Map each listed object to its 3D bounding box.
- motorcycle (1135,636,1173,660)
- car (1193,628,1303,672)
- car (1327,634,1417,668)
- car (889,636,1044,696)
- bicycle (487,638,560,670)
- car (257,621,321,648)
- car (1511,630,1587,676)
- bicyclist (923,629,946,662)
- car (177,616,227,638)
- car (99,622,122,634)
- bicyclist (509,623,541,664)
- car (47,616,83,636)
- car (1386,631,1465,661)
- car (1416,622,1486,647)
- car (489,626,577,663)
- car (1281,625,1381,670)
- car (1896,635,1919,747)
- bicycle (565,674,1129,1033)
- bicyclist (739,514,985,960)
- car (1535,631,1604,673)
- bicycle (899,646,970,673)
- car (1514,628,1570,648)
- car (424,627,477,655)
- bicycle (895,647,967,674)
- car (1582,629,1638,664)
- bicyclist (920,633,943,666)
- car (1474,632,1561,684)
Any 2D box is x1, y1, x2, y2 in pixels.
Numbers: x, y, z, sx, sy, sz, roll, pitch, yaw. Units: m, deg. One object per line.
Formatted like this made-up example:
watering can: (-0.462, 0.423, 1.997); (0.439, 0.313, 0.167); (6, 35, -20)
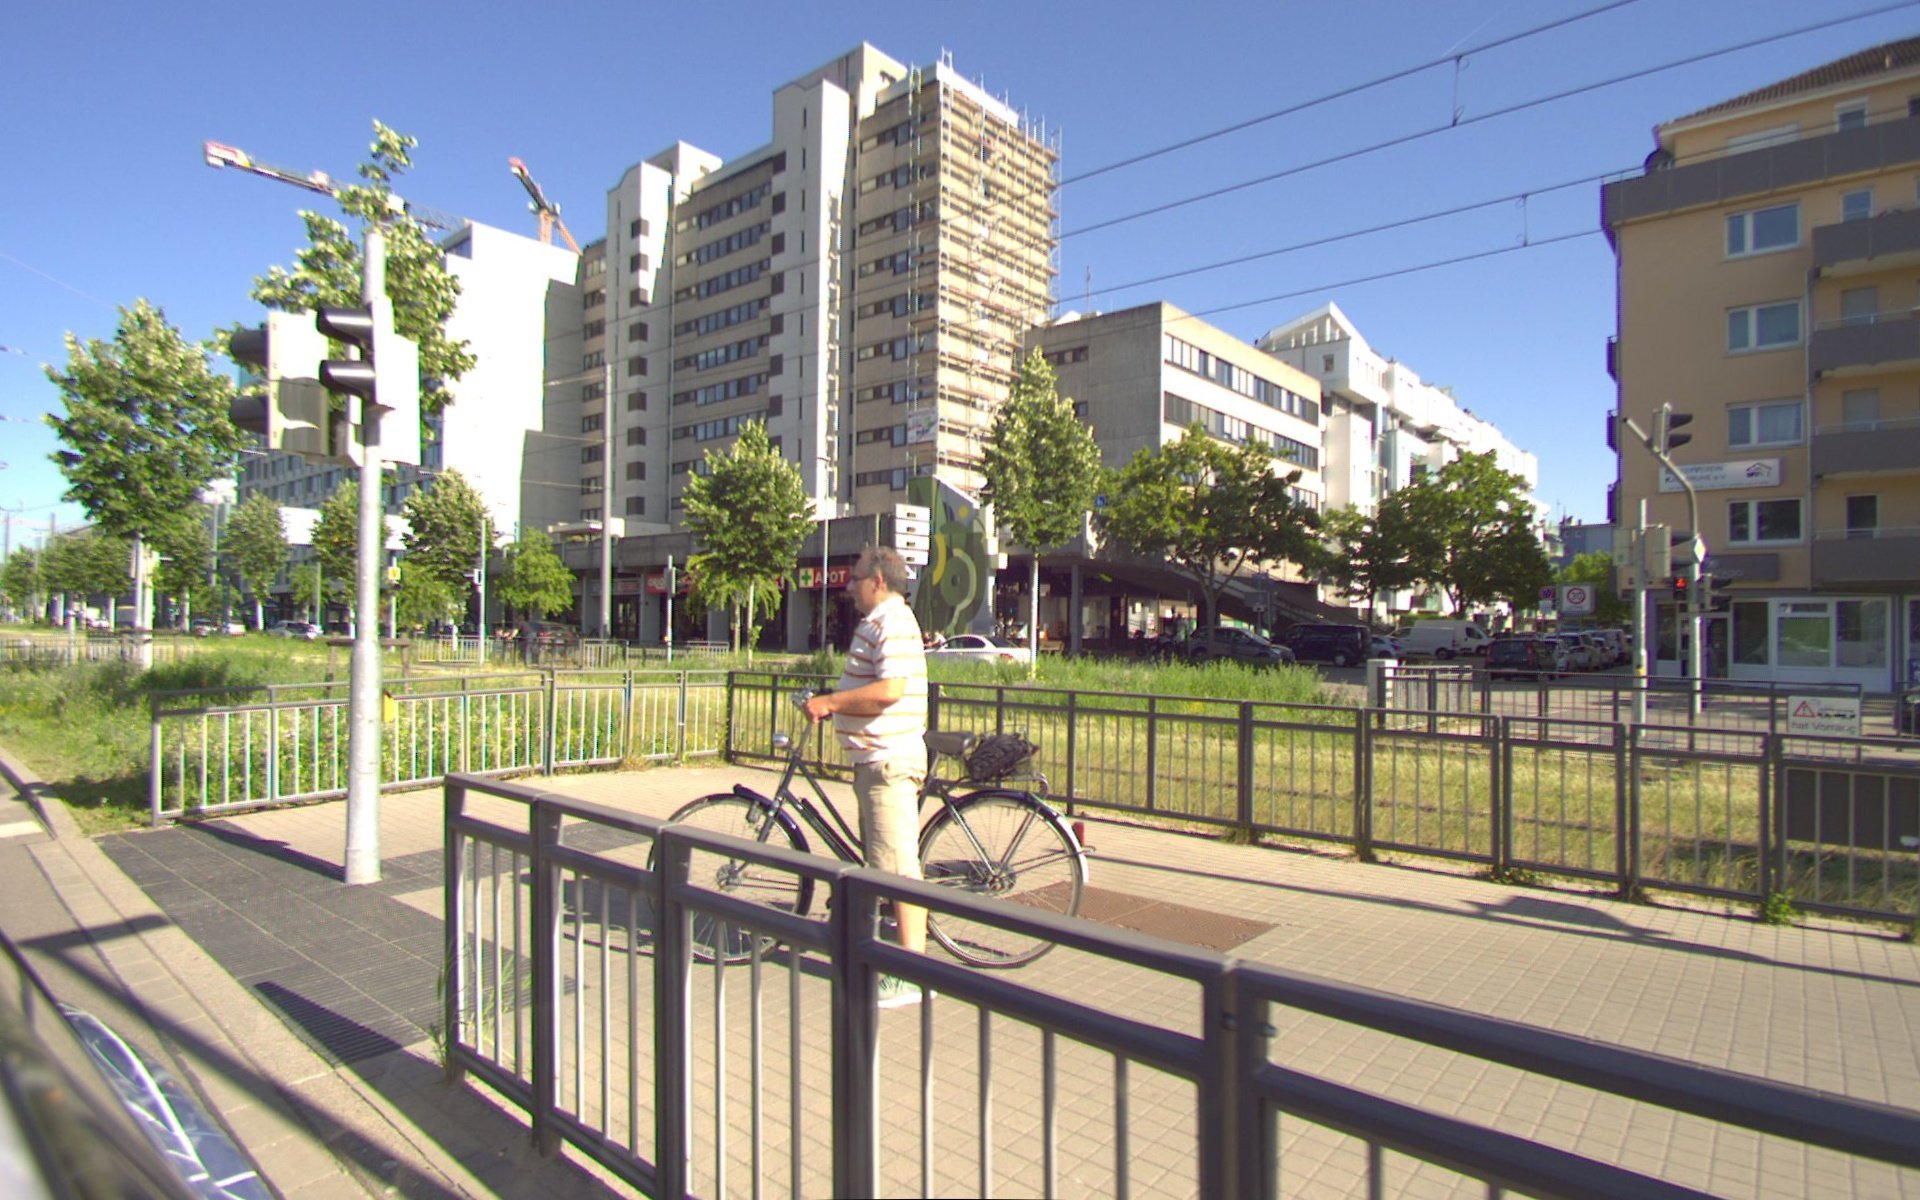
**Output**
motorcycle: (9.428, 2.310, 49.236); (1.876, 1.114, 0.440); (-1, -1, 42)
car: (11.981, 2.041, 42.198); (3.998, 1.652, 1.973); (-1, -1, 41)
car: (21.683, 2.655, 53.323); (3.994, 1.619, 1.975); (-1, -1, 38)
car: (0.144, 1.931, 30.639); (4.502, 1.590, 1.974); (-1, -1, 39)
bicycle: (-13.502, 1.656, 31.324); (1.987, 0.958, 0.563); (0, -1, -3)
car: (-40.681, 2.058, 61.310); (4.502, 1.590, 1.974); (-1, -1, 39)
car: (23.310, 2.046, 39.982); (1.998, 1.630, 3.947); (-1, -1, 40)
bicyclist: (-0.940, 1.689, 37.672); (0.760, 1.234, 0.578); (0, -1, 12)
car: (-56.736, 2.004, 75.702); (4.502, 1.590, 1.974); (-1, -1, 39)
car: (-117.075, 3.833, 139.456); (3.811, 1.519, 1.804); (-1, -1, 41)
bicyclist: (-13.475, 1.335, 31.331); (0.756, 1.234, 0.580); (0, -1, -2)
car: (-82.884, 2.403, 93.701); (4.284, 1.833, 1.972); (-1, -1, 42)
car: (27.865, 2.711, 60.594); (3.994, 1.652, 1.975); (-1, -1, 38)
car: (33.338, 2.329, 68.749); (3.994, 1.652, 1.975); (-1, -1, 38)
car: (-19.816, 2.062, 46.918); (4.102, 1.590, 1.974); (-1, -4, 39)
car: (17.432, 2.182, 47.595); (3.994, 1.984, 1.975); (-1, -1, 38)
car: (15.969, 1.327, 13.835); (4.502, 1.590, 1.974); (-1, -3, 39)
bicycle: (-0.413, 0.874, 3.935); (2.063, 1.099, 0.731); (0, -1, 15)
bicyclist: (-0.348, 0.473, 3.960); (0.723, 1.524, 0.825); (0, -1, 15)
car: (26.288, 2.178, 43.587); (1.998, 1.630, 3.947); (-1, -1, 40)
bicycle: (-0.975, 2.259, 38.418); (2.647, 0.958, 0.560); (0, -1, 13)
car: (50.507, 3.304, 87.841); (3.993, 1.652, 1.975); (-1, -1, 37)
car: (-33.084, 2.621, 65.849); (1.768, 1.696, 4.005); (0, -1, -6)
bicycle: (-1.088, 2.251, 37.691); (2.647, 0.958, 0.560); (0, -1, 13)
car: (33.675, 2.381, 52.397); (1.998, 1.630, 3.947); (-1, -1, 40)
bicyclist: (-1.082, 1.889, 38.442); (0.760, 1.234, 0.578); (0, -1, 12)
car: (19.592, 1.981, 35.495); (1.998, 1.630, 3.947); (-1, -1, 40)
